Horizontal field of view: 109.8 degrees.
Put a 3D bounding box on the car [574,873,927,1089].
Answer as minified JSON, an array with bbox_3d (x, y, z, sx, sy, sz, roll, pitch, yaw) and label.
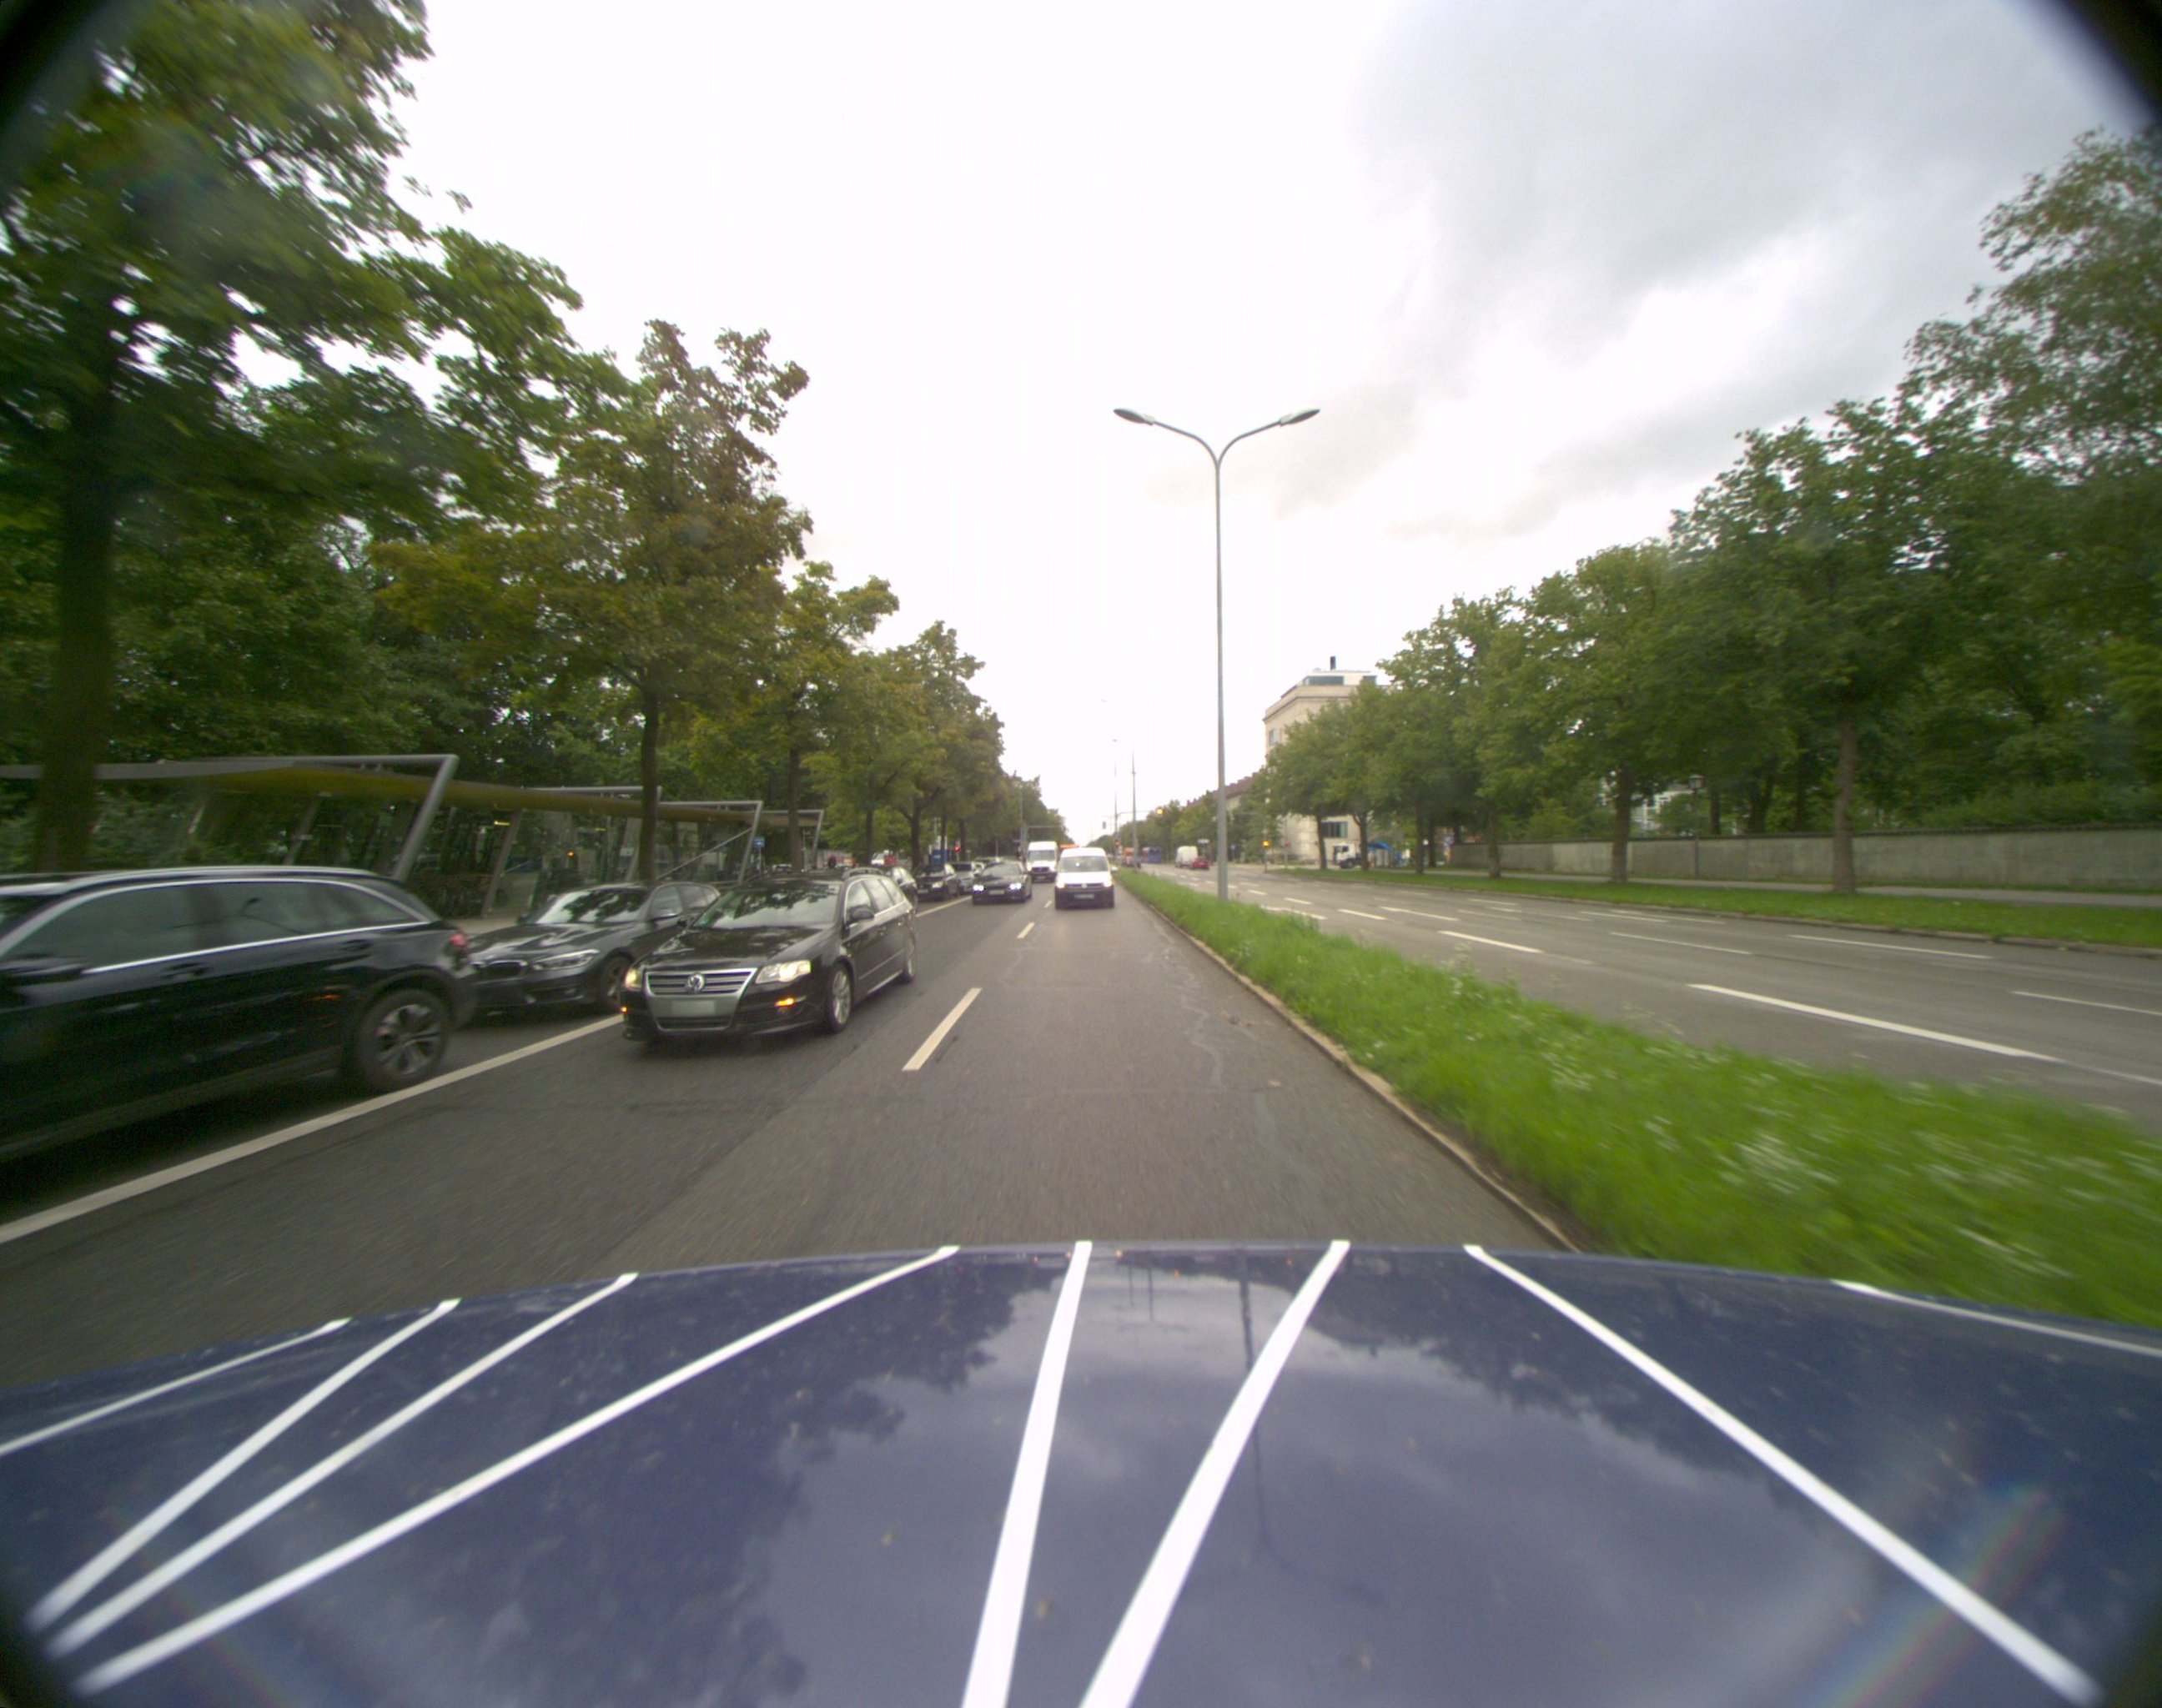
[{"bbox_3d":[-2.991,1.026,8.145,1.752,1.466,4.670,-2,0,-1],"label":"car"}]

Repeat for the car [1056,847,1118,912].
[{"bbox_3d":[0.137,0.717,24.014,1.752,1.809,4.670,-1,0,-1],"label":"car"}]

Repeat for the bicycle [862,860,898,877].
[{"bbox_3d":[-14.075,1.032,53.151,2.344,1.151,0.529,1,0,0],"label":"bicycle"}]

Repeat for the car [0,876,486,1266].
[{"bbox_3d":[-5.788,1.043,3.905,1.791,1.665,4.595,-1,0,0],"label":"car"}]

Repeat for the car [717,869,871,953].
[{"bbox_3d":[-5.904,1.102,16.175,1.638,1.445,4.078,-1,0,1],"label":"car"}]

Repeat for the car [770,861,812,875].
[{"bbox_3d":[-31.417,1.501,82.403,3.947,1.445,1.627,-1,1,-2],"label":"car"}]

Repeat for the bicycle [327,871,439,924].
[{"bbox_3d":[-18.914,1.154,20.689,0.646,1.273,2.550,-1,0,1],"label":"bicycle"}]

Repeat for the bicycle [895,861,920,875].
[{"bbox_3d":[-13.656,1.104,59.807,1.810,1.136,0.567,1,1,6],"label":"bicycle"}]

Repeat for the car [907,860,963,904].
[{"bbox_3d":[-5.771,1.075,30.401,1.546,1.525,4.089,-2,0,-2],"label":"car"}]

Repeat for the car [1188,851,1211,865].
[{"bbox_3d":[12.751,0.400,81.811,1.747,1.443,4.657,1,0,1],"label":"car"}]

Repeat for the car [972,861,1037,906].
[{"bbox_3d":[-2.716,1.017,27.868,1.819,1.421,4.671,-1,0,1],"label":"car"}]

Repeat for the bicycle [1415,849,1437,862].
[{"bbox_3d":[32.325,0.145,71.208,0.837,1.179,2.496,-1,0,0],"label":"bicycle"}]

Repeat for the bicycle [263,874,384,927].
[{"bbox_3d":[-20.372,1.213,20.541,0.646,1.273,2.550,-1,0,1],"label":"bicycle"}]

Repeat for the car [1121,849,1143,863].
[{"bbox_3d":[5.778,0.213,86.126,1.645,1.478,3.777,-1,0,-10],"label":"car"}]

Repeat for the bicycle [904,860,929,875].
[{"bbox_3d":[-13.161,1.090,60.821,1.809,1.136,0.568,1,1,10],"label":"bicycle"}]

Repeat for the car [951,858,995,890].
[{"bbox_3d":[-5.752,1.039,40.852,1.706,1.499,4.503,-3,0,-1],"label":"car"}]

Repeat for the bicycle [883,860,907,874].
[{"bbox_3d":[-15.091,1.067,61.672,1.810,1.136,0.567,1,1,6],"label":"bicycle"}]

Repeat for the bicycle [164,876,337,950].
[{"bbox_3d":[-16.639,1.140,15.354,0.646,1.273,2.550,-1,0,1],"label":"bicycle"}]

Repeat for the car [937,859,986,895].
[{"bbox_3d":[-5.511,1.028,35.577,1.725,1.525,4.398,-1,0,-2],"label":"car"}]

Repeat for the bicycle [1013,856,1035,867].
[{"bbox_3d":[-5.572,0.723,74.333,1.951,1.075,0.746,-1,1,-35],"label":"bicycle"}]

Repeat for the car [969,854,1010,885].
[{"bbox_3d":[-5.457,0.871,45.888,1.751,1.714,4.906,-2,0,1],"label":"car"}]

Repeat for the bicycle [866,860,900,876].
[{"bbox_3d":[-14.888,1.070,57.175,2.344,1.151,0.585,1,0,0],"label":"bicycle"}]

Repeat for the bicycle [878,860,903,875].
[{"bbox_3d":[-15.187,1.073,60.556,1.810,1.136,0.567,1,1,1],"label":"bicycle"}]

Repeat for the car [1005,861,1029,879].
[{"bbox_3d":[-5.469,1.351,65.100,1.714,1.352,4.620,-2,0,-1],"label":"car"}]

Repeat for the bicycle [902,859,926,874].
[{"bbox_3d":[-13.799,1.056,62.921,1.946,1.205,0.567,0,1,-10],"label":"bicycle"}]

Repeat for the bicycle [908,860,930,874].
[{"bbox_3d":[-13.271,1.090,62.290,1.812,1.136,0.567,0,1,-10],"label":"bicycle"}]

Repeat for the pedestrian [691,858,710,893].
[{"bbox_3d":[-16.654,0.923,33.275,0.580,1.504,0.693,-2,1,-18],"label":"pedestrian"}]

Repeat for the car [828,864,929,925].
[{"bbox_3d":[-5.758,1.097,22.130,1.722,1.500,4.223,-1,0,1],"label":"car"}]

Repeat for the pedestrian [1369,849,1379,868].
[{"bbox_3d":[28.093,0.420,72.861,0.709,1.730,0.517,-1,1,-4],"label":"pedestrian"}]

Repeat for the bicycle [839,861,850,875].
[{"bbox_3d":[-22.768,1.346,73.059,0.704,1.243,2.110,-1,0,-25],"label":"bicycle"}]

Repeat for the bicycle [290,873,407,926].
[{"bbox_3d":[-19.668,1.185,20.502,0.646,1.273,2.550,-1,0,1],"label":"bicycle"}]

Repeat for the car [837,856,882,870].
[{"bbox_3d":[-24.068,0.972,82.671,4.312,1.489,1.887,-1,0,-2],"label":"car"}]

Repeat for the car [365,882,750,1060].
[{"bbox_3d":[-5.763,1.163,9.162,1.637,1.430,4.304,-1,0,0],"label":"car"}]

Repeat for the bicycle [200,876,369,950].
[{"bbox_3d":[-15.919,1.128,15.317,0.646,1.273,2.550,-1,0,1],"label":"bicycle"}]
